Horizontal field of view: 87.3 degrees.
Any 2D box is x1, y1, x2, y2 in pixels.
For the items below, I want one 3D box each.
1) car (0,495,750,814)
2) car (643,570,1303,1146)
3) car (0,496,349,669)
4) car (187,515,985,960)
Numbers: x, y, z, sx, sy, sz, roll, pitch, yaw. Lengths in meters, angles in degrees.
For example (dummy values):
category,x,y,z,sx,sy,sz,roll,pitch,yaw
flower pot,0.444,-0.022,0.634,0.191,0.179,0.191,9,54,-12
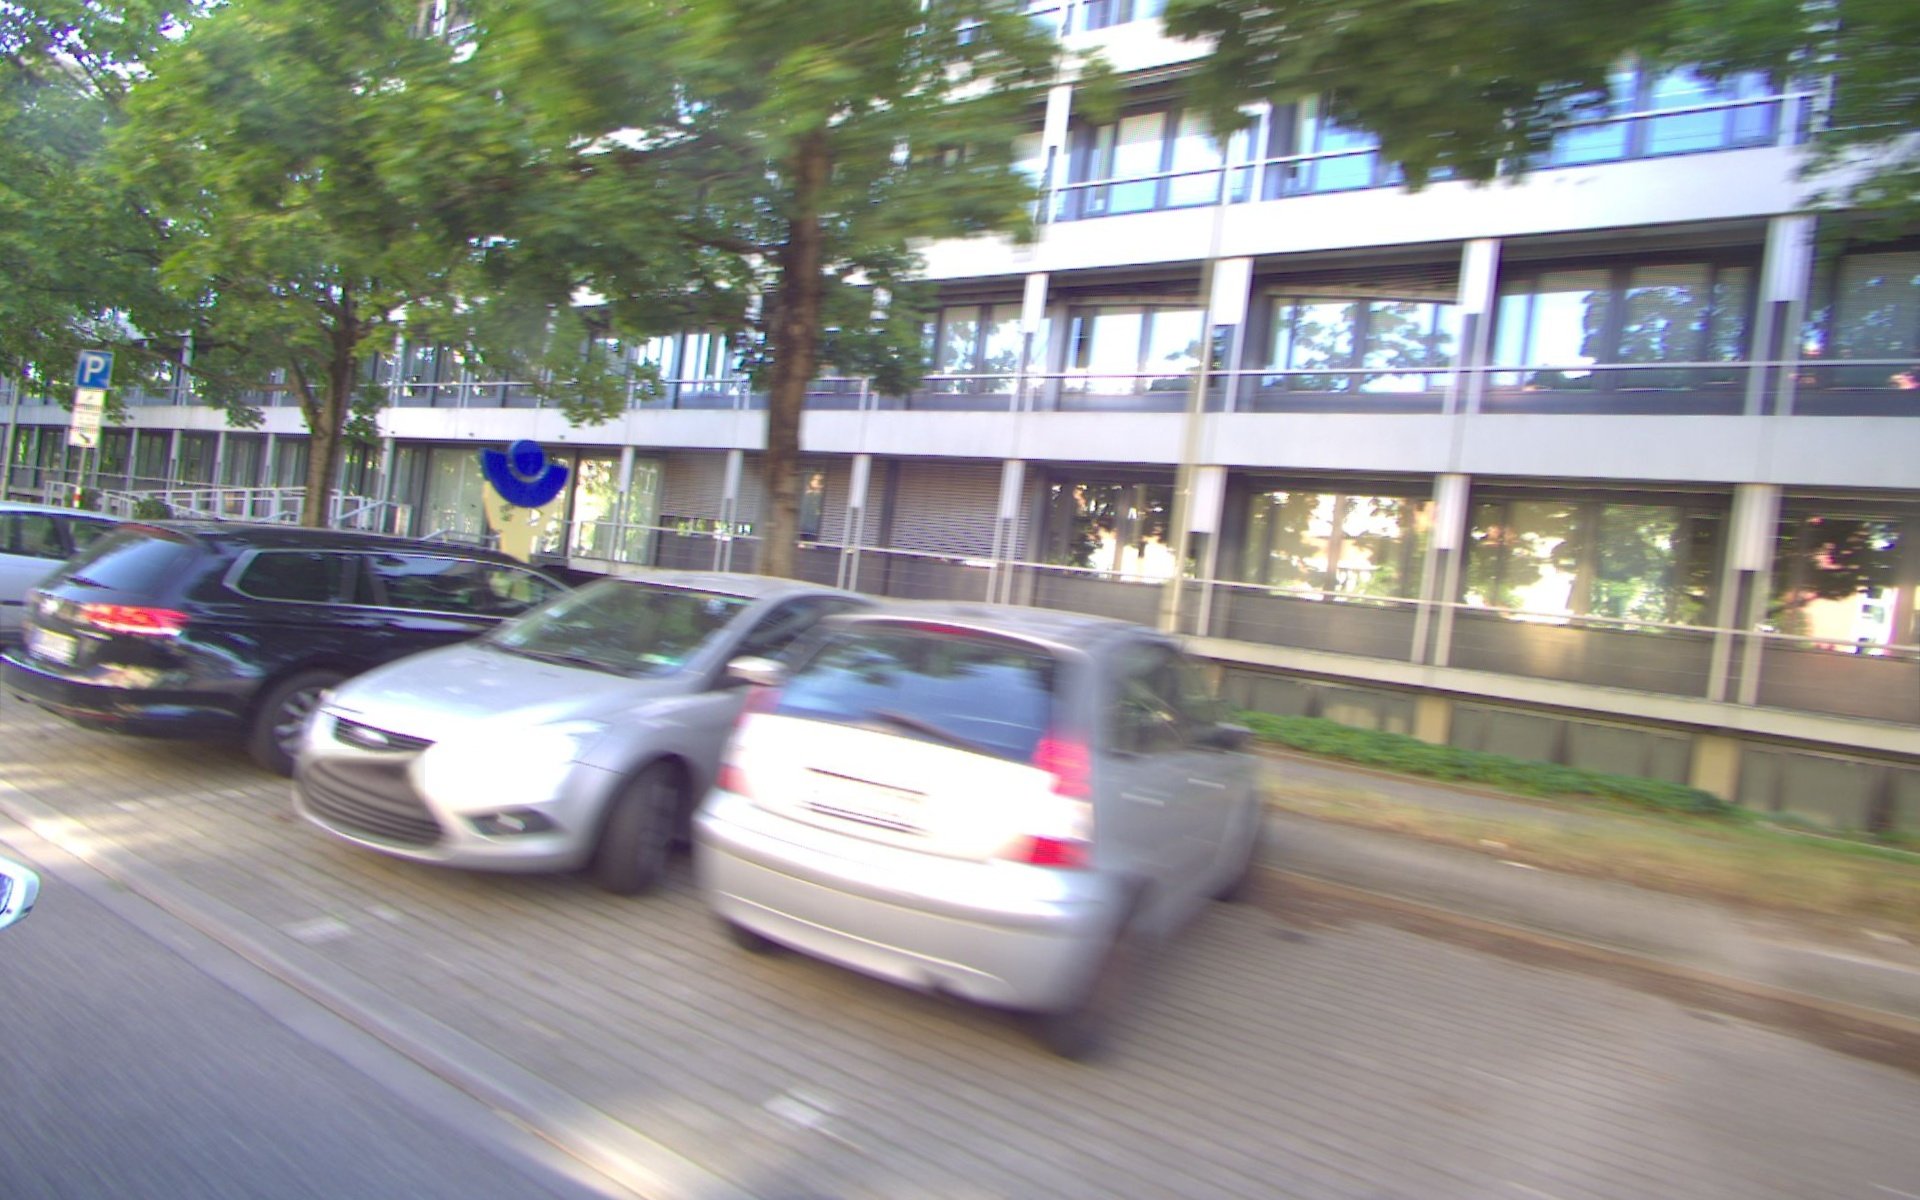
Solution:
category,x,y,z,sx,sy,sz,roll,pitch,yaw
car,-3.829,0.301,7.354,1.734,1.513,4.593,7,2,31
car,0.484,0.806,4.888,1.588,1.512,3.749,7,1,27
car,-8.390,-0.179,9.621,1.681,1.438,3.974,7,1,30
car,-1.646,0.557,6.063,1.968,1.512,4.295,7,1,24
